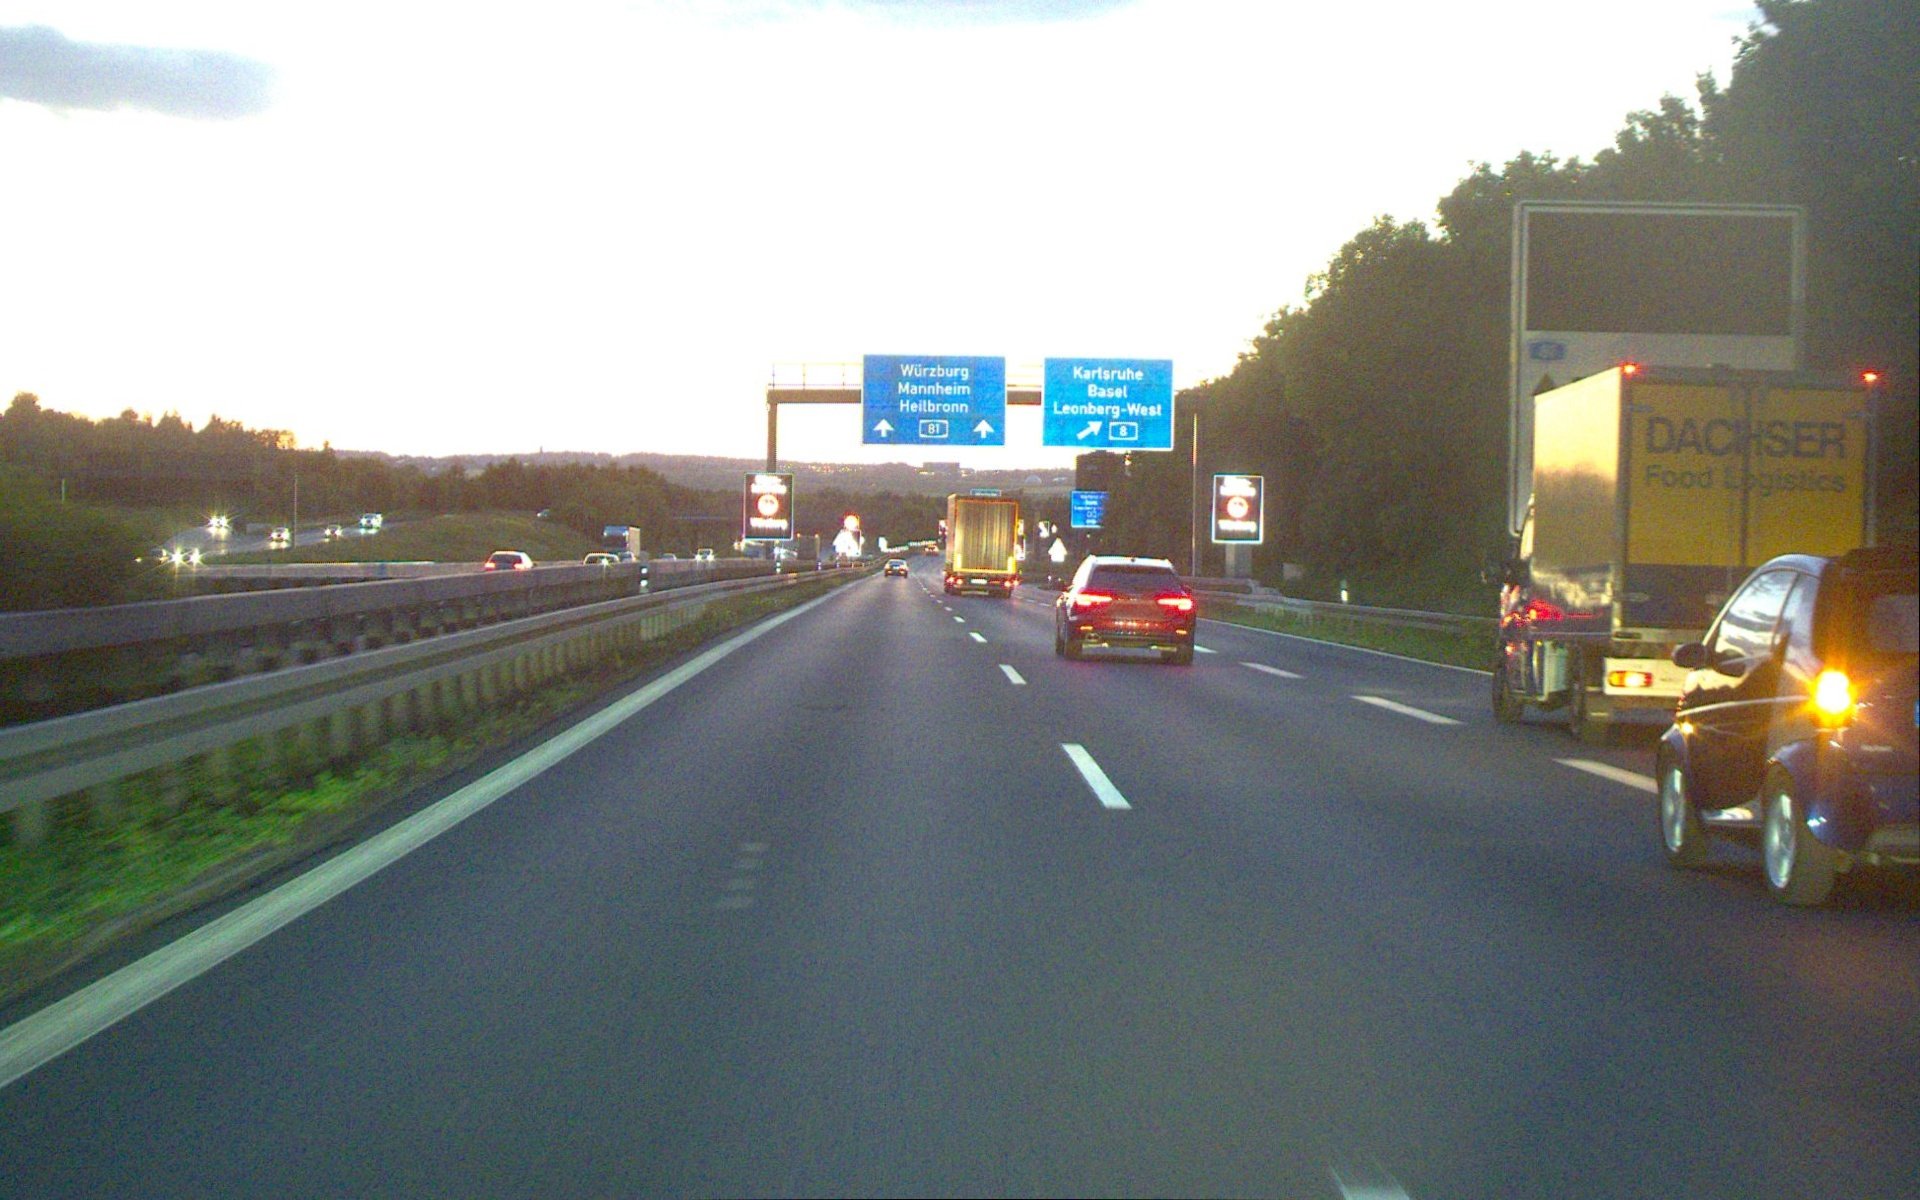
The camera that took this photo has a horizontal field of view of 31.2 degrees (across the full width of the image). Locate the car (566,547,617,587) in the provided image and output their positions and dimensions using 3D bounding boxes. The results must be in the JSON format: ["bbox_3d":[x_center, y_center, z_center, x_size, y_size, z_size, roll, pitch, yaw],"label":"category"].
[{"bbox_3d":[-14.902,-1.338,139.218,1.713,1.600,3.722,1,0,-1],"label":"car"}]

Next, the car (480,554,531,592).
[{"bbox_3d":[-18.643,-1.116,141.138,1.638,1.541,3.395,1,0,-1],"label":"car"}]

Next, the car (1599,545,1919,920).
[{"bbox_3d":[4.146,0.546,15.945,1.610,1.550,3.319,1,0,-2],"label":"car"}]

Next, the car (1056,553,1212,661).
[{"bbox_3d":[2.415,0.079,48.522,1.915,1.437,4.000,1,0,-1],"label":"car"}]

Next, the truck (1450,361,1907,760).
[{"bbox_3d":[6.018,-0.355,29.832,2.268,2.961,6.632,3,1,-1],"label":"truck"}]

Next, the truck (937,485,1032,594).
[{"bbox_3d":[0.937,-2.422,140.590,3.509,4.286,9.892,1,0,-1],"label":"truck"}]
